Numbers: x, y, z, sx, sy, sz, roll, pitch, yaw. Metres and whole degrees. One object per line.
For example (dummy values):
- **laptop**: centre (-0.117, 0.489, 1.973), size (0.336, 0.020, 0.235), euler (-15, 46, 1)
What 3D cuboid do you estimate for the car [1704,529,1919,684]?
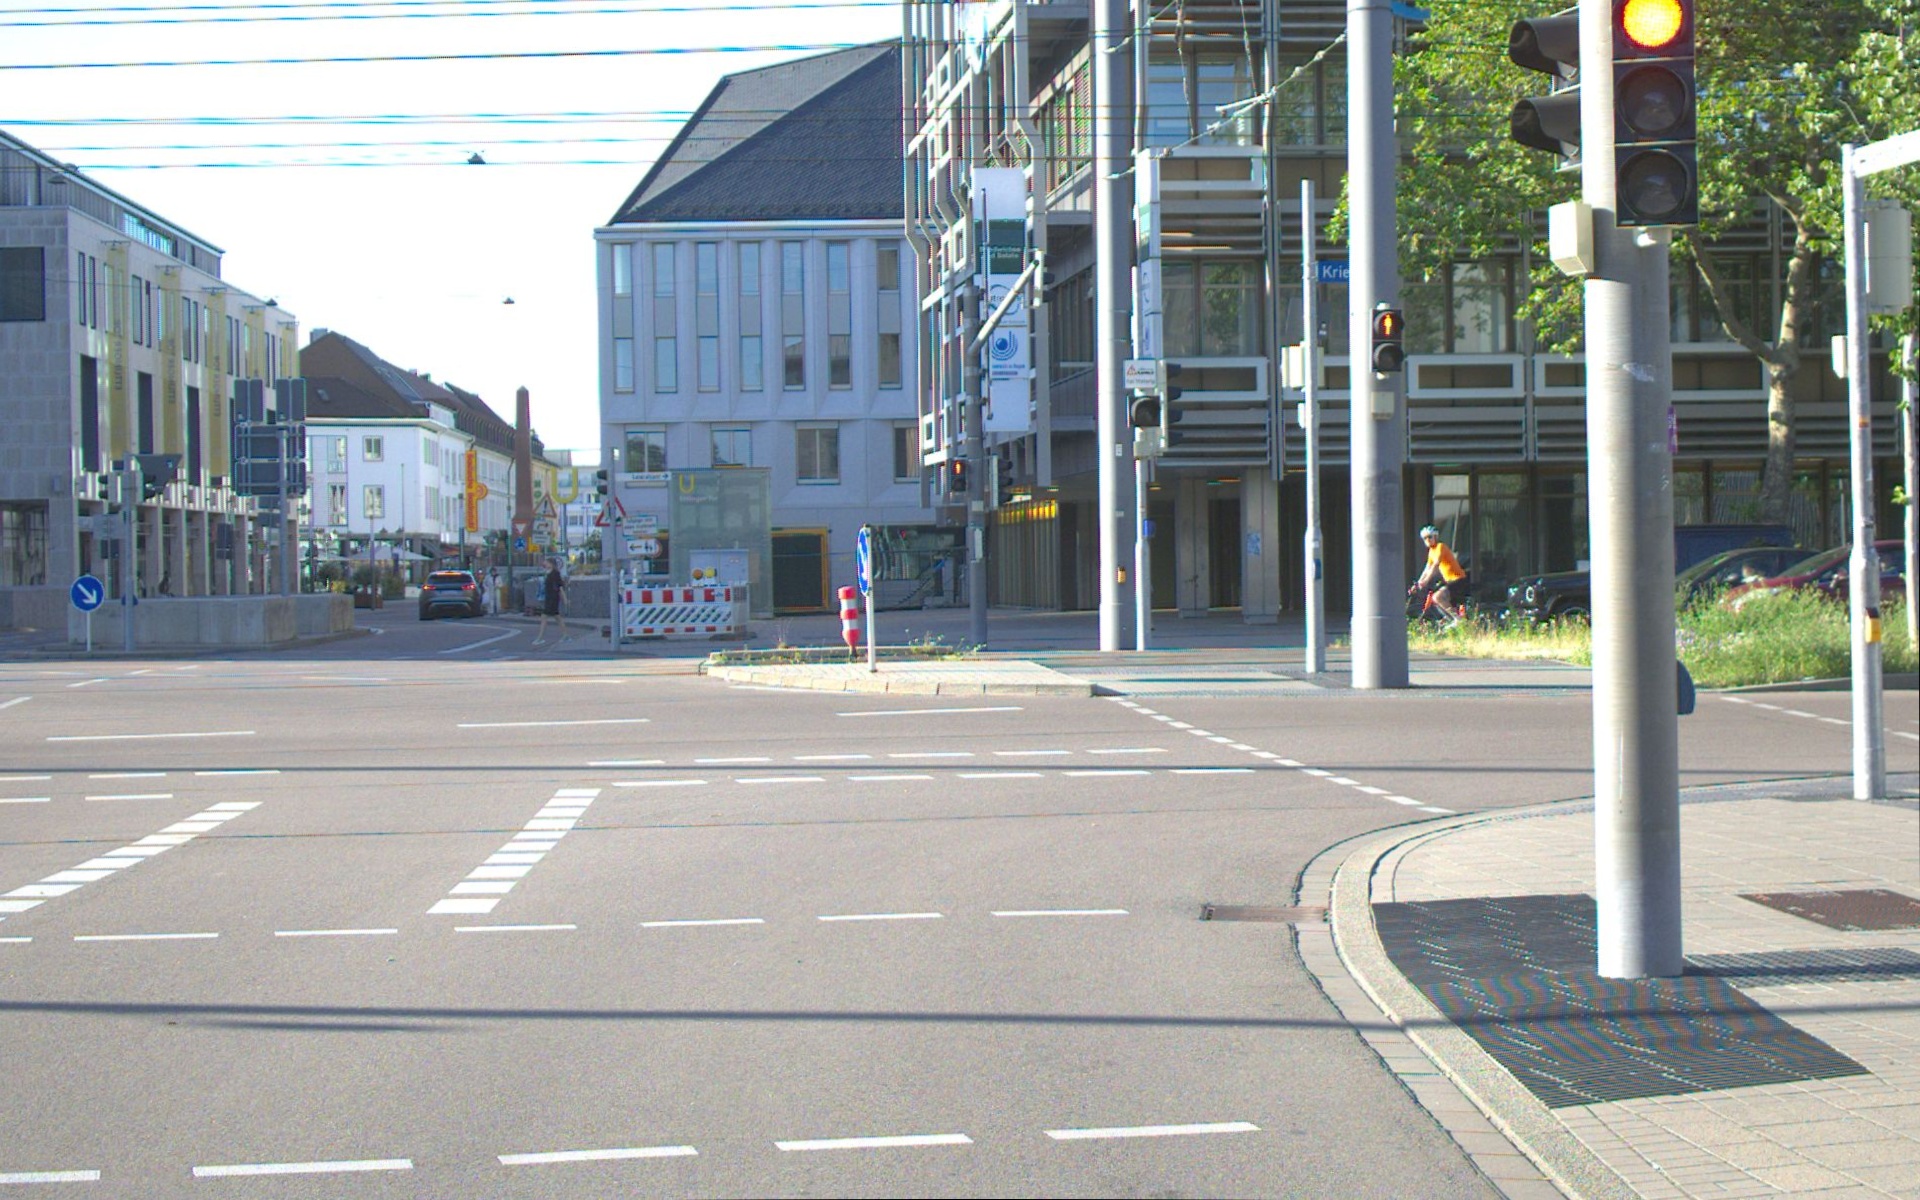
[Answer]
- **car**: centre (12.289, 0.090, 46.402), size (3.986, 2.007, 2.000), euler (1, 0, -3)

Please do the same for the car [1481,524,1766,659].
- **car**: centre (10.346, -0.141, 53.771), size (3.986, 2.007, 2.000), euler (1, 0, -3)

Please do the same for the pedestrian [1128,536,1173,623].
- **pedestrian**: centre (3.621, -0.396, 65.526), size (0.729, 1.652, 0.651), euler (-1, 1, -7)

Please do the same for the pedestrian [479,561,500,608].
- **pedestrian**: centre (-14.413, -0.474, 105.247), size (0.609, 1.406, 0.570), euler (-1, 1, -6)

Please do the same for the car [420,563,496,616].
- **car**: centre (-15.808, -0.349, 108.415), size (2.199, 1.601, 4.327), euler (-1, 1, -6)

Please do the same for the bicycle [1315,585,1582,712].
- **bicycle**: centre (6.695, 0.652, 47.139), size (3.490, 1.653, 0.932), euler (-1, 1, -9)

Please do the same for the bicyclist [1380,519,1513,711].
- **bicyclist**: centre (6.663, 0.192, 47.133), size (1.567, 2.571, 0.932), euler (-1, 1, -9)

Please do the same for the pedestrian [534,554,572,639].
- **pedestrian**: centre (-8.002, -0.076, 67.605), size (0.663, 1.652, 0.755), euler (-1, 1, -3)

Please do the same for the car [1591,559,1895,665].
- **car**: centre (11.495, 0.161, 50.654), size (3.986, 1.503, 1.868), euler (0, 1, -3)
